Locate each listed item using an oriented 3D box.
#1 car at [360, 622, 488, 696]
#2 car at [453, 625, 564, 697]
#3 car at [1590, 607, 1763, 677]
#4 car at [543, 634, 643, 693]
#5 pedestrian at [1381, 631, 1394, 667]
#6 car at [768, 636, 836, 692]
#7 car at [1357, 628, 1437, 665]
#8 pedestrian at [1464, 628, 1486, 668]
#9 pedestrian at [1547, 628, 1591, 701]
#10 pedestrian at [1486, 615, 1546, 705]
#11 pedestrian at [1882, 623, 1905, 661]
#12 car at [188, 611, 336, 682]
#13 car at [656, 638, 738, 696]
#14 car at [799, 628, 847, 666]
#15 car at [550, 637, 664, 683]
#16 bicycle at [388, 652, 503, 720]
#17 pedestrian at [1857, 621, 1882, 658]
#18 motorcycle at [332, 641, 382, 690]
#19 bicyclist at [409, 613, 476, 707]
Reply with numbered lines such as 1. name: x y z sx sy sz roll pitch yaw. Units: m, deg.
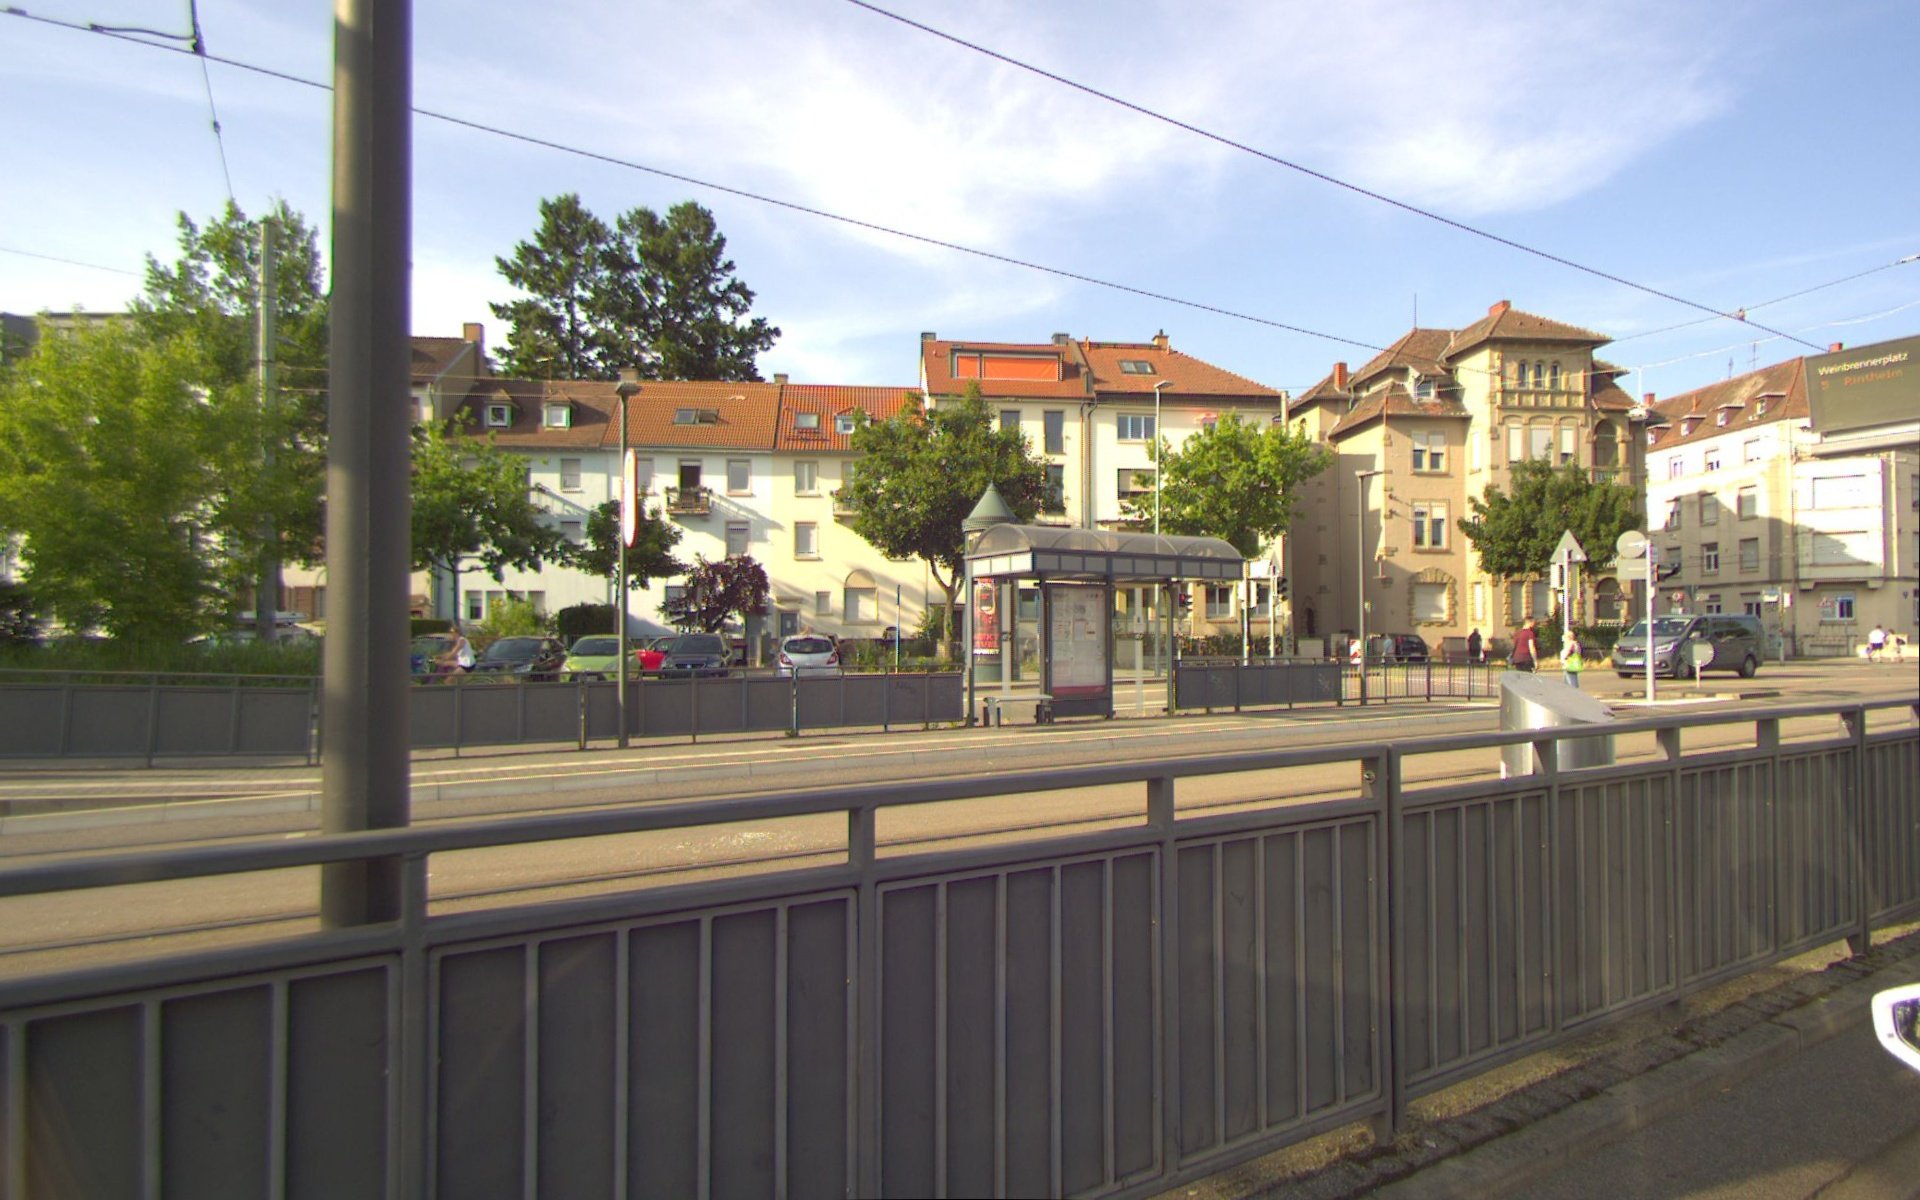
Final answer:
1. car: -13.891 1.496 26.285 1.822 1.777 3.993 0 -2 -11
2. car: -11.979 1.578 26.903 1.822 1.777 3.993 0 -2 -11
3. car: 22.319 1.296 31.262 5.316 2.040 2.138 1 -2 -26
4. car: -9.736 1.638 26.931 1.740 1.447 3.995 0 -2 -9
5. pedestrian: 18.566 2.113 43.624 0.382 1.535 0.405 0 -2 -3
6. car: -4.377 1.722 27.967 1.740 1.447 3.995 0 -2 -9
7. car: 20.402 2.144 47.087 1.742 1.653 3.998 0 -2 -5
8. pedestrian: 22.102 2.056 43.117 0.592 1.673 0.681 0 -1 -3
9. pedestrian: 13.880 1.457 22.893 0.708 1.610 0.586 1 -2 -34
10. pedestrian: 10.757 1.153 19.444 0.874 1.692 0.666 1 -2 -33
11. pedestrian: 46.763 2.115 50.330 0.642 1.872 0.670 1 -2 -32
12. car: -18.968 1.246 27.523 1.822 1.777 3.993 0 -2 -11
13. car: -7.073 1.756 27.338 1.740 1.447 3.995 0 -2 -9
14. car: -6.004 2.051 44.365 1.821 1.578 3.998 0 -2 -4
15. car: -12.188 2.057 34.858 3.444 1.544 1.567 0 -2 -7
16. bicycle: -9.430 1.560 18.430 1.842 1.125 0.722 1 1 -30
17. pedestrian: 46.237 2.002 51.076 0.616 1.905 0.659 0 -2 -15
18. motorcycle: -13.577 1.467 22.618 0.912 1.065 0.496 1 -2 -37
19. bicyclist: -9.465 1.071 18.375 1.059 1.646 0.701 0 1 -30
